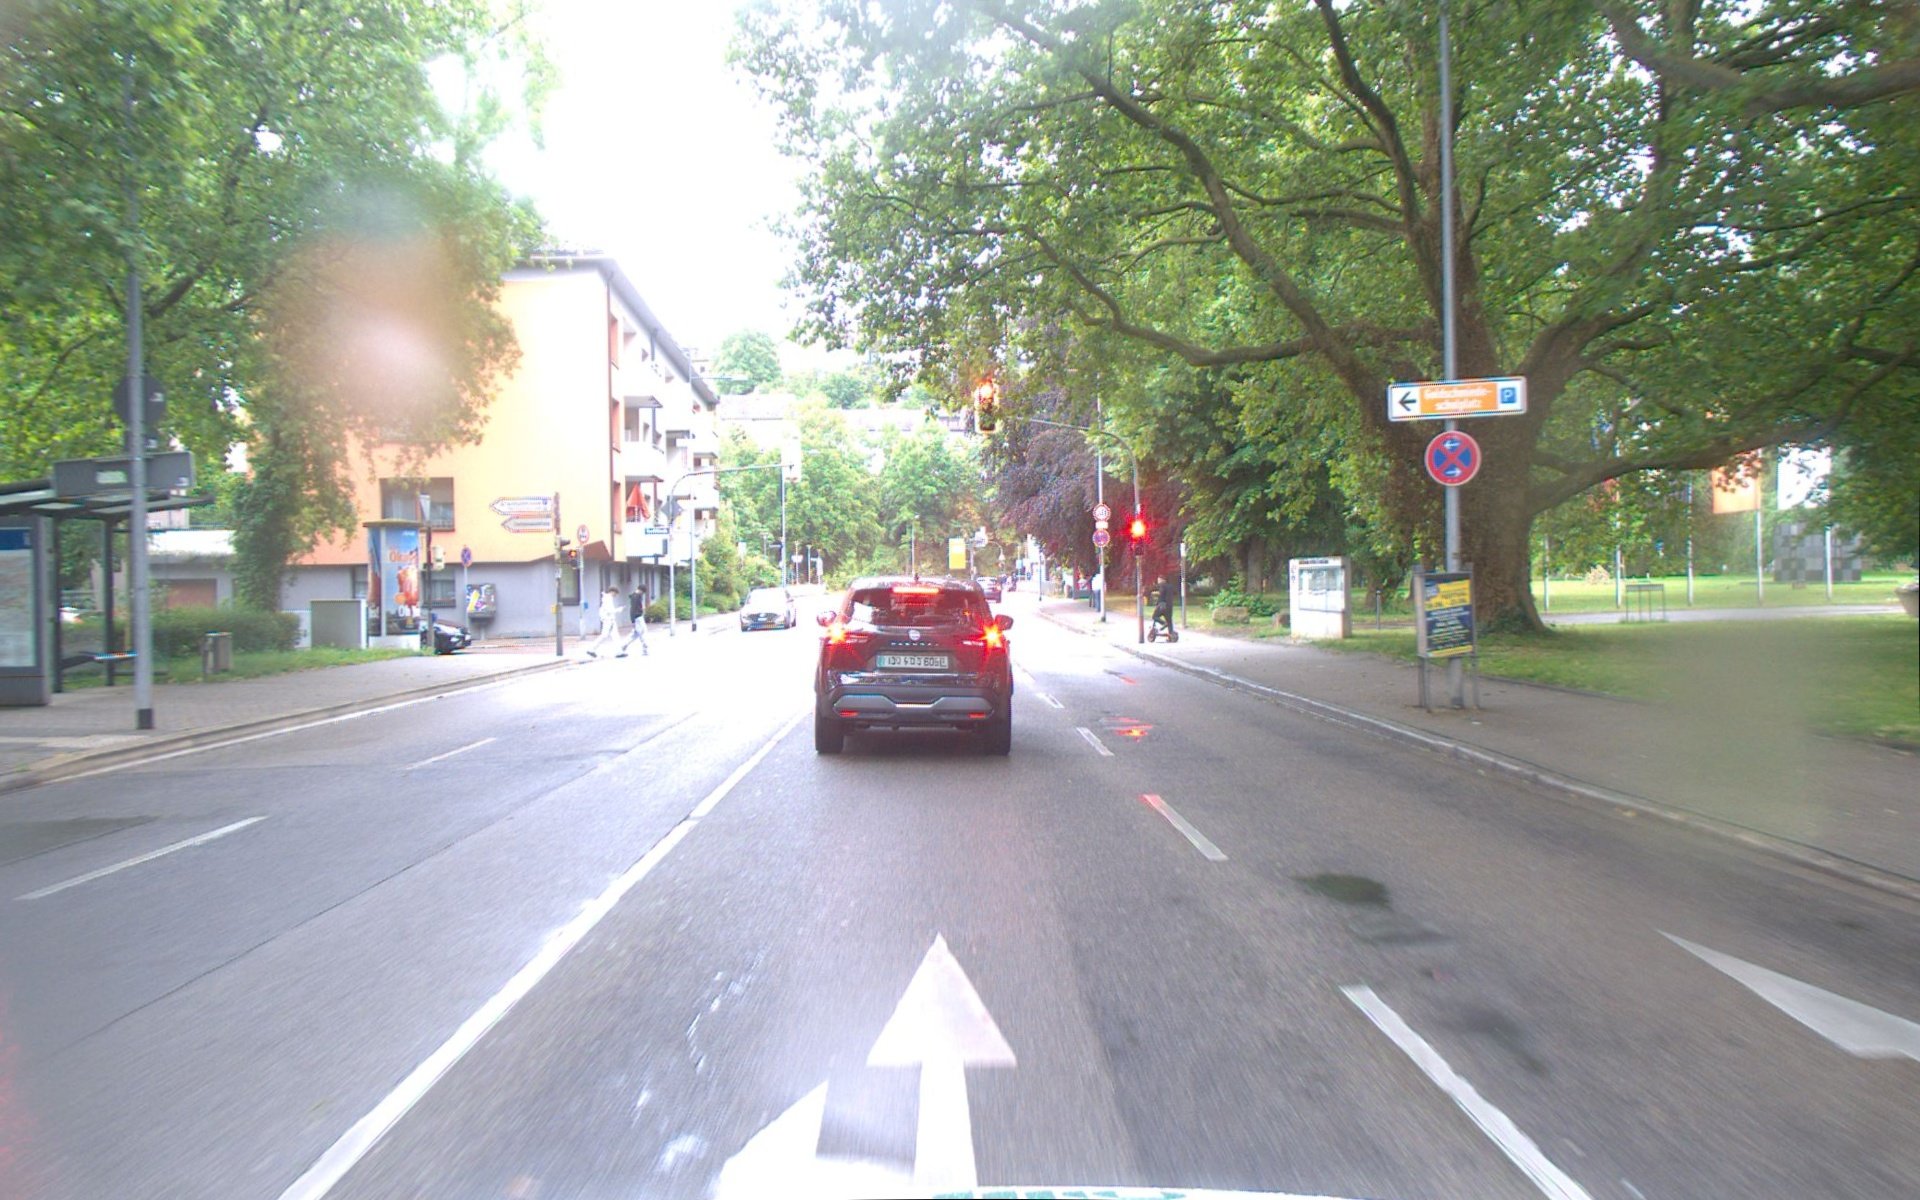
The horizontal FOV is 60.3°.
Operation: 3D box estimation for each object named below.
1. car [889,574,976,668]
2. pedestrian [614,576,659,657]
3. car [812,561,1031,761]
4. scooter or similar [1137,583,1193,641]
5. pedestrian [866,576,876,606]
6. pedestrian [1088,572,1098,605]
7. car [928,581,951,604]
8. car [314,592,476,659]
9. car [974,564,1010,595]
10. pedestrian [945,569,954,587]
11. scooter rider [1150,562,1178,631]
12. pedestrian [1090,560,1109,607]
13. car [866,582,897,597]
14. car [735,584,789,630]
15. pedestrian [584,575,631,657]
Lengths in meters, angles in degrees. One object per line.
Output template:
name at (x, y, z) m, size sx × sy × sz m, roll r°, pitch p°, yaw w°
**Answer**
car at (-0.567, 0.384, 34.023) m, size 1.664 × 1.776 × 3.640 m, roll -2°, pitch 1°, yaw -1°
pedestrian at (-7.901, 0.389, 40.394) m, size 1.017 × 1.908 × 0.656 m, roll -2°, pitch 0°, yaw -12°
car at (-0.359, 0.510, 16.296) m, size 1.874 × 1.709 × 3.999 m, roll 1°, pitch 1°, yaw -1°
scooter or similar at (5.368, 0.320, 43.288) m, size 1.364 × 1.471 × 0.818 m, roll -1°, pitch -1°, yaw 11°
pedestrian at (-5.369, -0.550, 99.986) m, size 0.498 × 1.833 × 0.619 m, roll -2°, pitch 0°, yaw -1°
pedestrian at (6.212, -0.519, 77.424) m, size 0.382 × 1.528 × 0.559 m, roll -1°, pitch 0°, yaw -1°
car at (-1.493, -0.558, 118.203) m, size 1.601 × 1.559 × 3.967 m, roll -2°, pitch 1°, yaw -1°
car at (-15.308, 0.667, 44.999) m, size 4.060 × 1.654 × 1.842 m, roll -2°, pitch 1°, yaw -18°
car at (1.976, -1.214, 100.699) m, size 1.952 × 1.765 × 4.002 m, roll 1°, pitch 0°, yaw 4°
pedestrian at (-0.986, -2.064, 154.706) m, size 0.498 × 1.702 × 0.658 m, roll -1°, pitch 0°, yaw 27°
scooter rider at (5.343, -0.087, 43.312) m, size 0.629 × 1.797 × 0.736 m, roll -1°, pitch -1°, yaw 12°
pedestrian at (6.160, -0.735, 73.213) m, size 0.710 × 2.049 × 0.851 m, roll -1°, pitch 0°, yaw -1°
car at (-9.034, -1.234, 189.311) m, size 3.374 × 1.579 × 1.757 m, roll 2°, pitch 0°, yaw -7°
car at (-7.207, 0.224, 60.477) m, size 1.760 × 1.560 × 3.864 m, roll -2°, pitch 1°, yaw -5°
pedestrian at (-8.426, 0.375, 39.600) m, size 1.017 × 1.908 × 0.656 m, roll -2°, pitch 0°, yaw -12°
